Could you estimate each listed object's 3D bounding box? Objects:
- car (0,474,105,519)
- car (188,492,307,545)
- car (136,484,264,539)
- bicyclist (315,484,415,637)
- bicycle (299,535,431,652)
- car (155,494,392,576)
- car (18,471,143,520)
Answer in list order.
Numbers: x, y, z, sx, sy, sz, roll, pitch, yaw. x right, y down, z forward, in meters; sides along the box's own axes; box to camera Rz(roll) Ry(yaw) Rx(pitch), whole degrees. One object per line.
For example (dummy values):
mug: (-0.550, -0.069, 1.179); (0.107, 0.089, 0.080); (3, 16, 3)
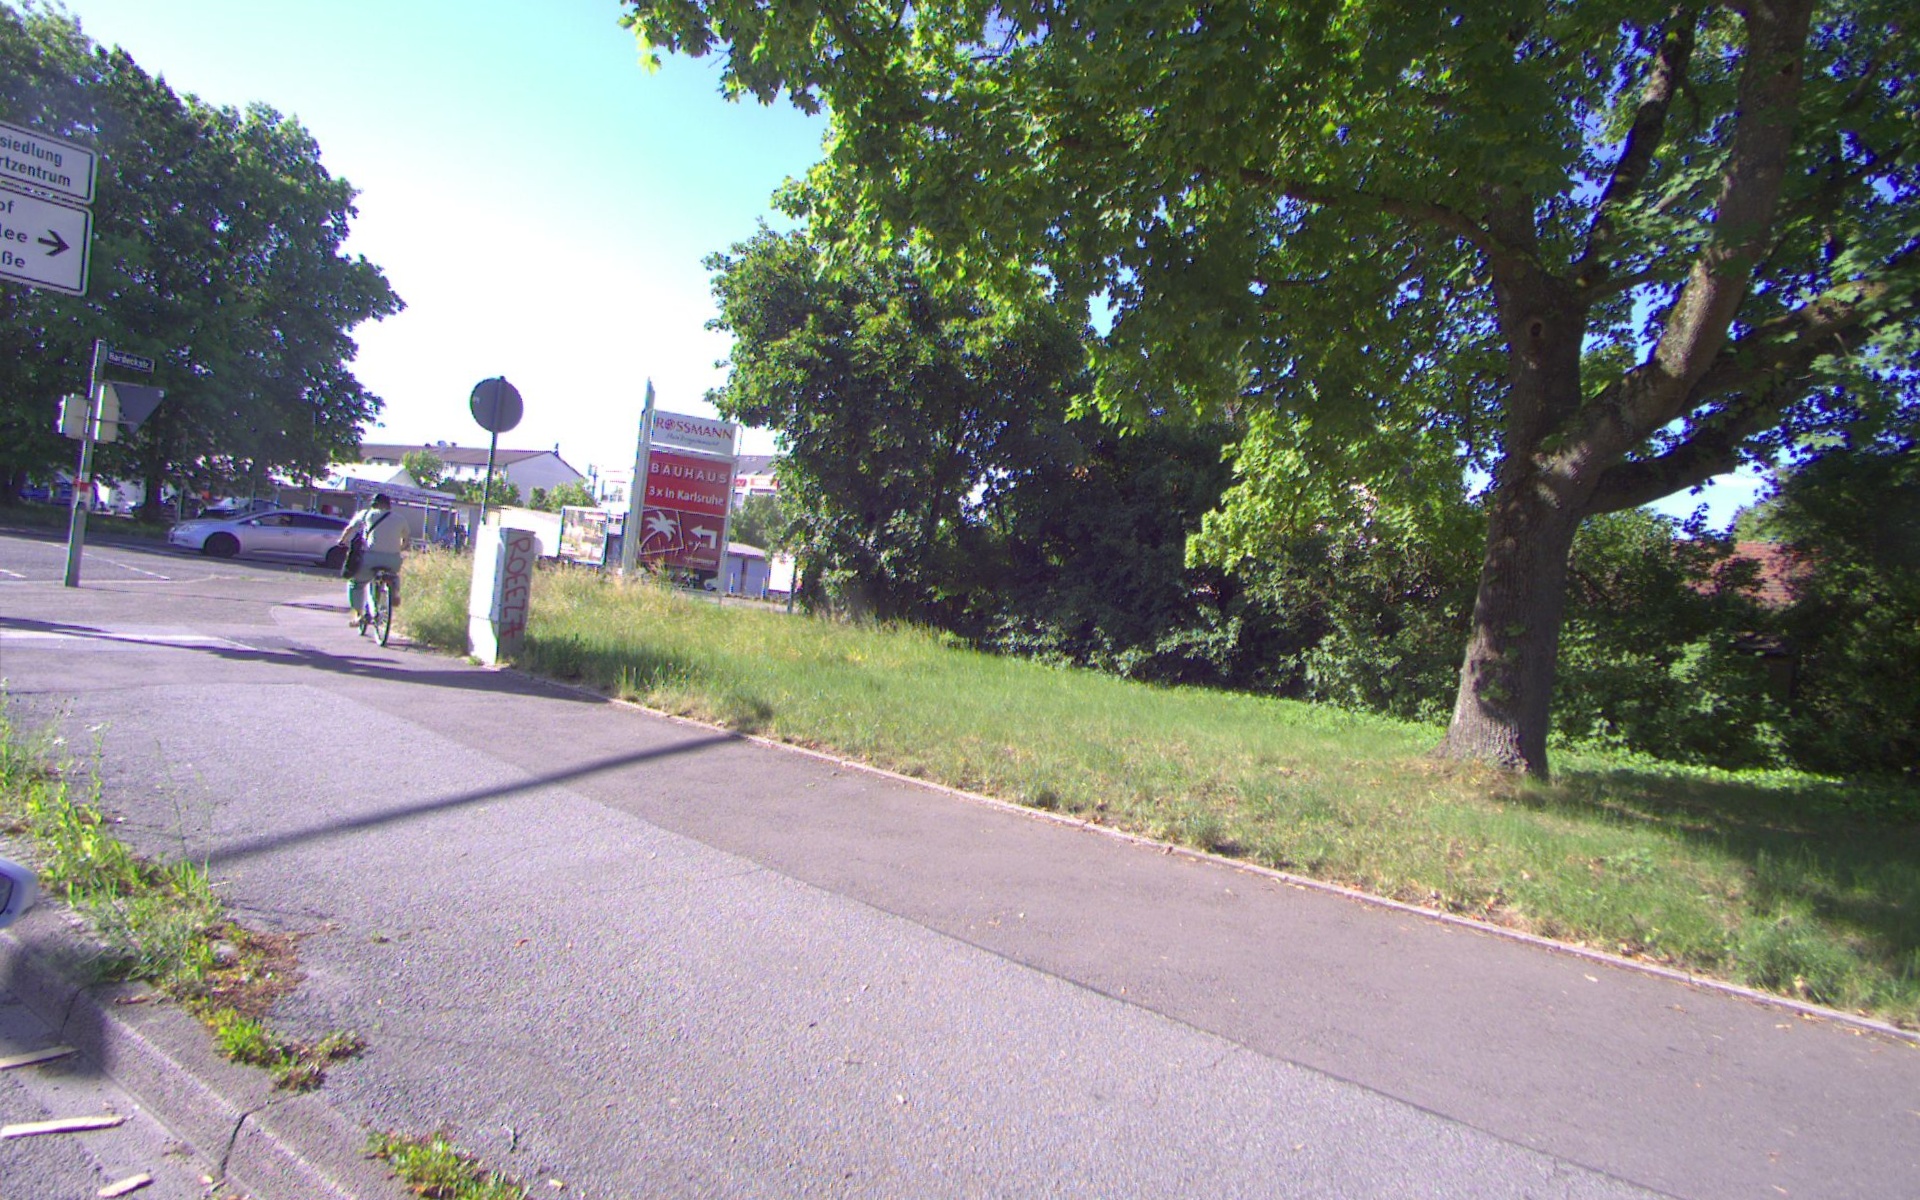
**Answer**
car: (-41.992, -4.752, 46.160); (1.712, 1.537, 3.902); (7, 0, 9)
car: (-30.298, -3.413, 42.920); (1.712, 1.701, 4.001); (7, 0, 9)
car: (-32.348, -3.735, 42.970); (1.962, 1.772, 4.000); (7, 1, 9)
bicyclist: (-6.664, -0.446, 11.264); (0.983, 1.602, 0.577); (7, 3, 39)
bicycle: (-6.700, -0.094, 11.279); (1.958, 1.112, 0.577); (7, 3, 39)
car: (-18.649, -1.725, 27.529); (1.973, 1.504, 4.994); (7, 0, 43)
car: (-39.182, -4.611, 44.935); (1.712, 1.537, 3.902); (7, 0, 9)
